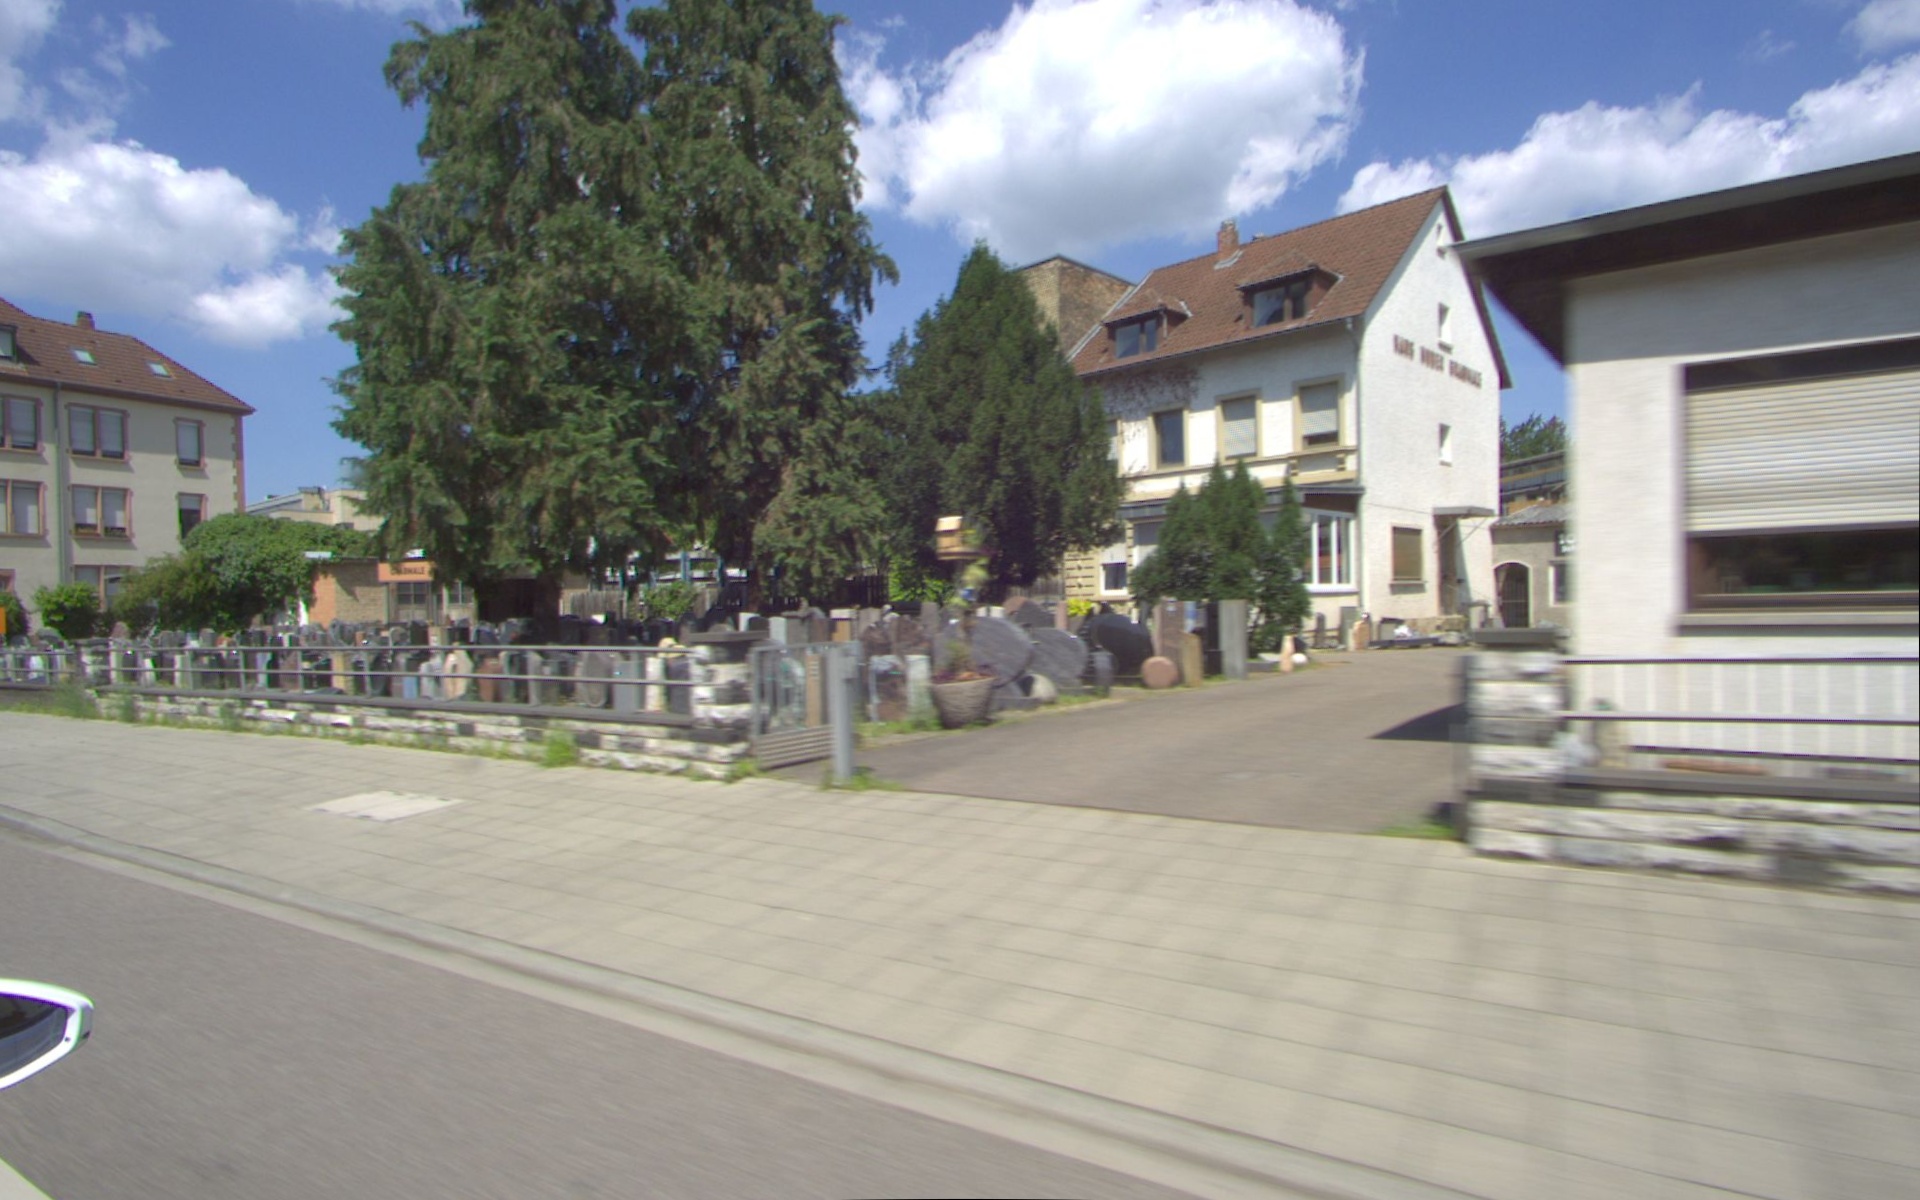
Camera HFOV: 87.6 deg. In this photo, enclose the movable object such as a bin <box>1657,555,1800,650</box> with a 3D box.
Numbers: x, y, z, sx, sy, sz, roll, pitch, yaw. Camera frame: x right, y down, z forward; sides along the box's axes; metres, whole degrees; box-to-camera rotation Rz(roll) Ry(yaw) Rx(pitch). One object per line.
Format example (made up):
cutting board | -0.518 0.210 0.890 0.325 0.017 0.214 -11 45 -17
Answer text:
movable object such as a bin | 19.922 0.062 25.975 2.732 2.298 1.981 -1 1 45
